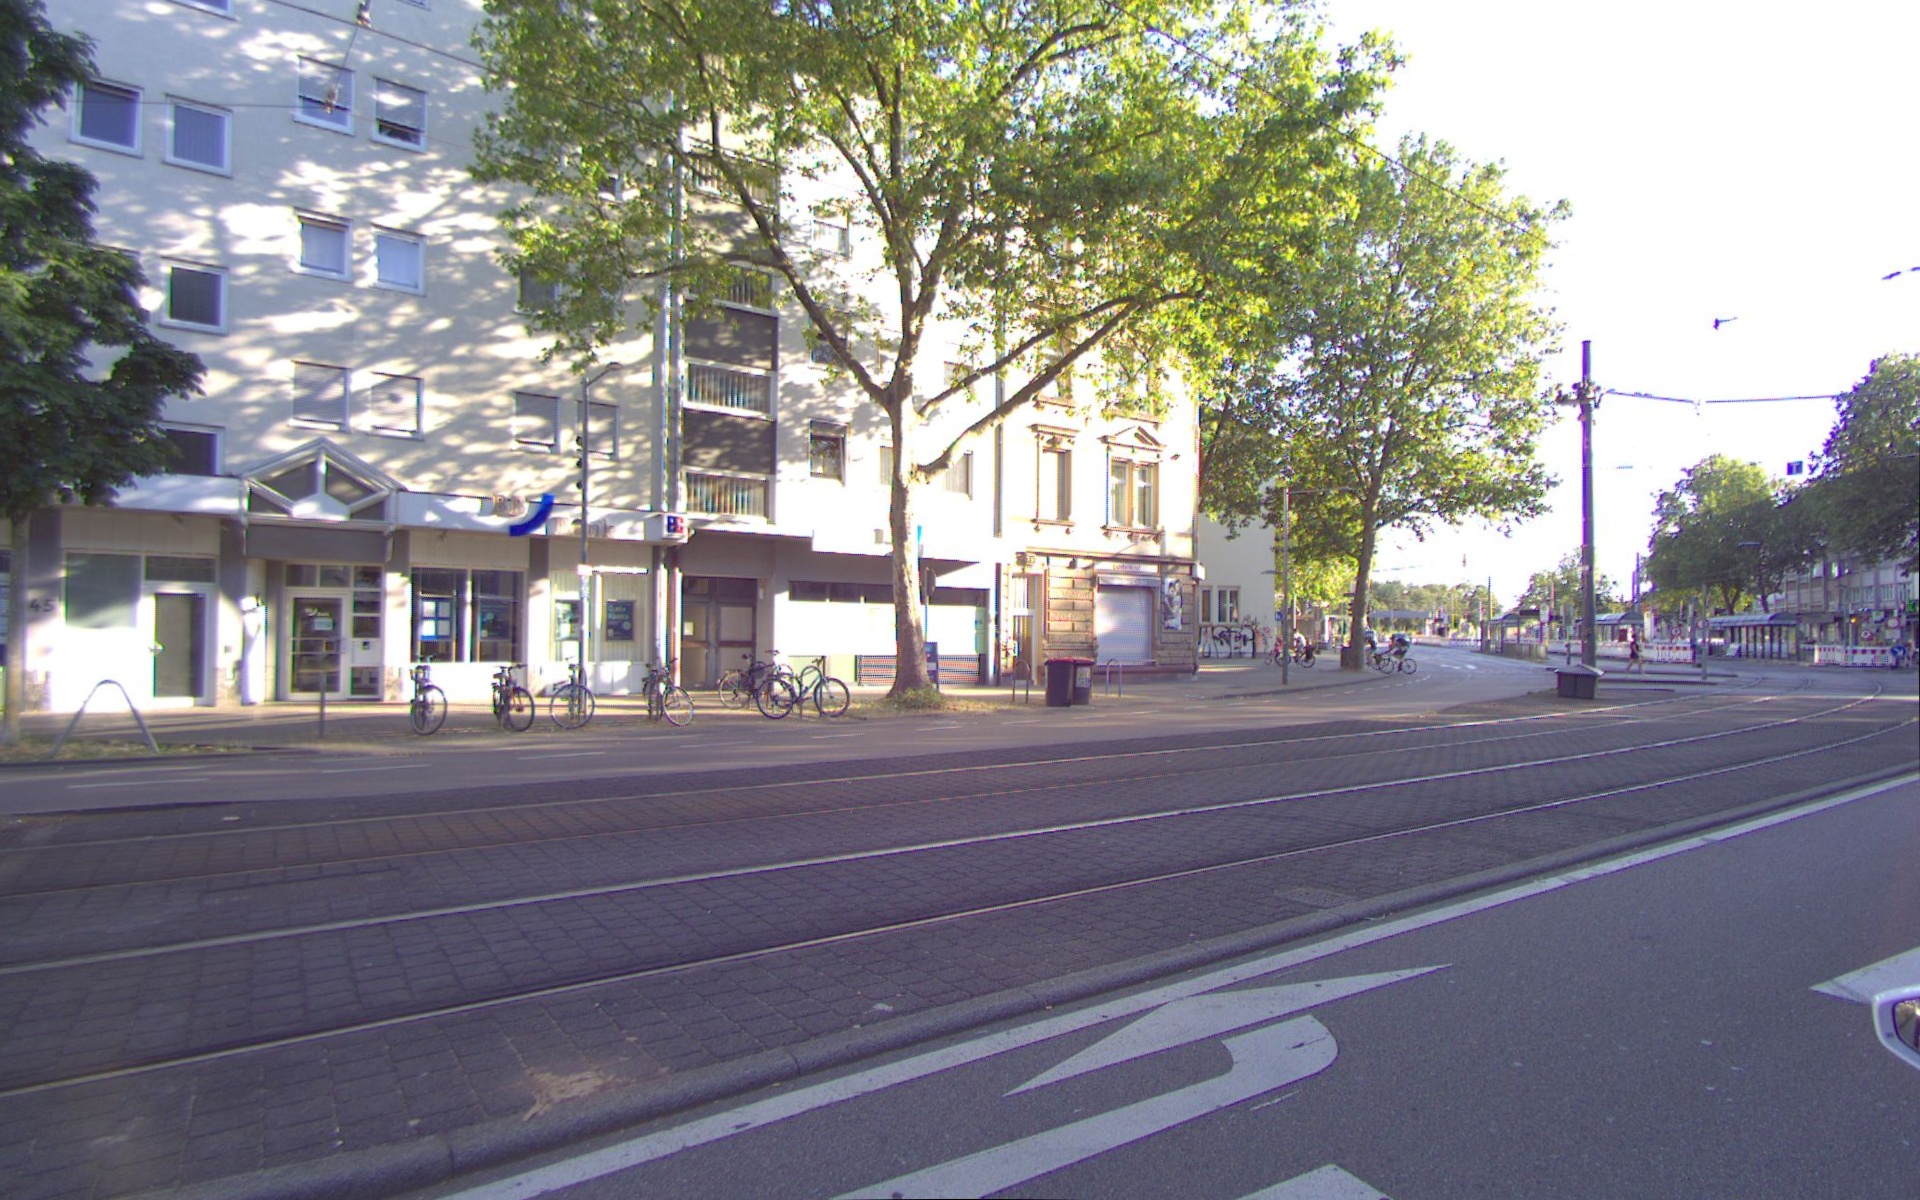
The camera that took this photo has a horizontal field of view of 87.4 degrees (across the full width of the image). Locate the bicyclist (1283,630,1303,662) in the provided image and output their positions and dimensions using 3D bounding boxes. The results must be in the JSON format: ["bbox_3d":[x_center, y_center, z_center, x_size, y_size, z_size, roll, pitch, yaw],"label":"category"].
[{"bbox_3d":[15.776,2.179,47.595,0.826,1.463,0.626,0,-2,27],"label":"bicyclist"}]

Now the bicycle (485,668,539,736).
[{"bbox_3d":[-6.957,1.553,15.572,0.467,0.900,1.729,2,-1,-34],"label":"bicycle"}]

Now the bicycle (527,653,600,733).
[{"bbox_3d":[-6.365,1.454,16.072,0.724,1.128,1.729,2,-1,-34],"label":"bicycle"}]

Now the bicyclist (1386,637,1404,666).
[{"bbox_3d":[19.700,2.327,45.475,0.631,1.310,0.455,-1,-2,39],"label":"bicyclist"}]

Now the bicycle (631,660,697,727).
[{"bbox_3d":[-5.072,1.569,17.168,0.584,1.002,1.729,2,-1,-34],"label":"bicycle"}]

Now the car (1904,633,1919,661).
[{"bbox_3d":[64.608,3.153,66.209,1.960,1.815,4.000,2,-1,20],"label":"car"}]

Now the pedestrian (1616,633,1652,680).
[{"bbox_3d":[25.543,2.137,38.076,0.639,1.708,0.985,3,-2,-41],"label":"pedestrian"}]

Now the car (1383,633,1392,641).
[{"bbox_3d":[89.549,7.686,210.288,1.814,1.706,3.716,0,-2,23],"label":"car"}]

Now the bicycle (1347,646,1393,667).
[{"bbox_3d":[20.289,2.783,49.716,1.994,0.950,0.757,-1,-2,40],"label":"bicycle"}]

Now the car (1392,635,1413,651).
[{"bbox_3d":[46.410,4.511,105.355,1.962,1.661,3.997,0,-2,25],"label":"car"}]

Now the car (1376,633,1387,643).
[{"bbox_3d":[79.434,7.146,189.337,1.814,1.706,3.716,0,-2,23],"label":"car"}]

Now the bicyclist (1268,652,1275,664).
[{"bbox_3d":[15.452,2.883,49.860,0.303,0.597,0.280,0,-2,29],"label":"bicyclist"}]

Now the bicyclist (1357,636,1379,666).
[{"bbox_3d":[20.219,2.502,49.789,0.829,1.463,0.753,-1,-2,39],"label":"bicyclist"}]

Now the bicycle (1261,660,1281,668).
[{"bbox_3d":[15.430,3.173,49.863,0.943,0.404,0.289,-1,-2,29],"label":"bicycle"}]

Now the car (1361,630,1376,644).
[{"bbox_3d":[56.004,5.087,137.795,1.765,1.820,3.998,0,-2,24],"label":"car"}]

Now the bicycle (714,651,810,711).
[{"bbox_3d":[-3.945,1.598,20.035,1.777,1.132,0.617,2,-2,-29],"label":"bicycle"}]

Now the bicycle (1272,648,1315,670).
[{"bbox_3d":[15.785,2.783,47.572,1.878,1.018,0.619,0,-2,27],"label":"bicycle"}]

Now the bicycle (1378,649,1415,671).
[{"bbox_3d":[19.739,2.706,45.431,1.487,0.998,0.449,-1,-2,40],"label":"bicycle"}]

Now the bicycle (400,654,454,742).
[{"bbox_3d":[-7.836,1.402,14.750,0.506,1.153,1.729,2,-1,-34],"label":"bicycle"}]

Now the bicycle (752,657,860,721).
[{"bbox_3d":[-2.774,1.589,18.137,1.800,1.091,0.649,2,-2,-29],"label":"bicycle"}]
